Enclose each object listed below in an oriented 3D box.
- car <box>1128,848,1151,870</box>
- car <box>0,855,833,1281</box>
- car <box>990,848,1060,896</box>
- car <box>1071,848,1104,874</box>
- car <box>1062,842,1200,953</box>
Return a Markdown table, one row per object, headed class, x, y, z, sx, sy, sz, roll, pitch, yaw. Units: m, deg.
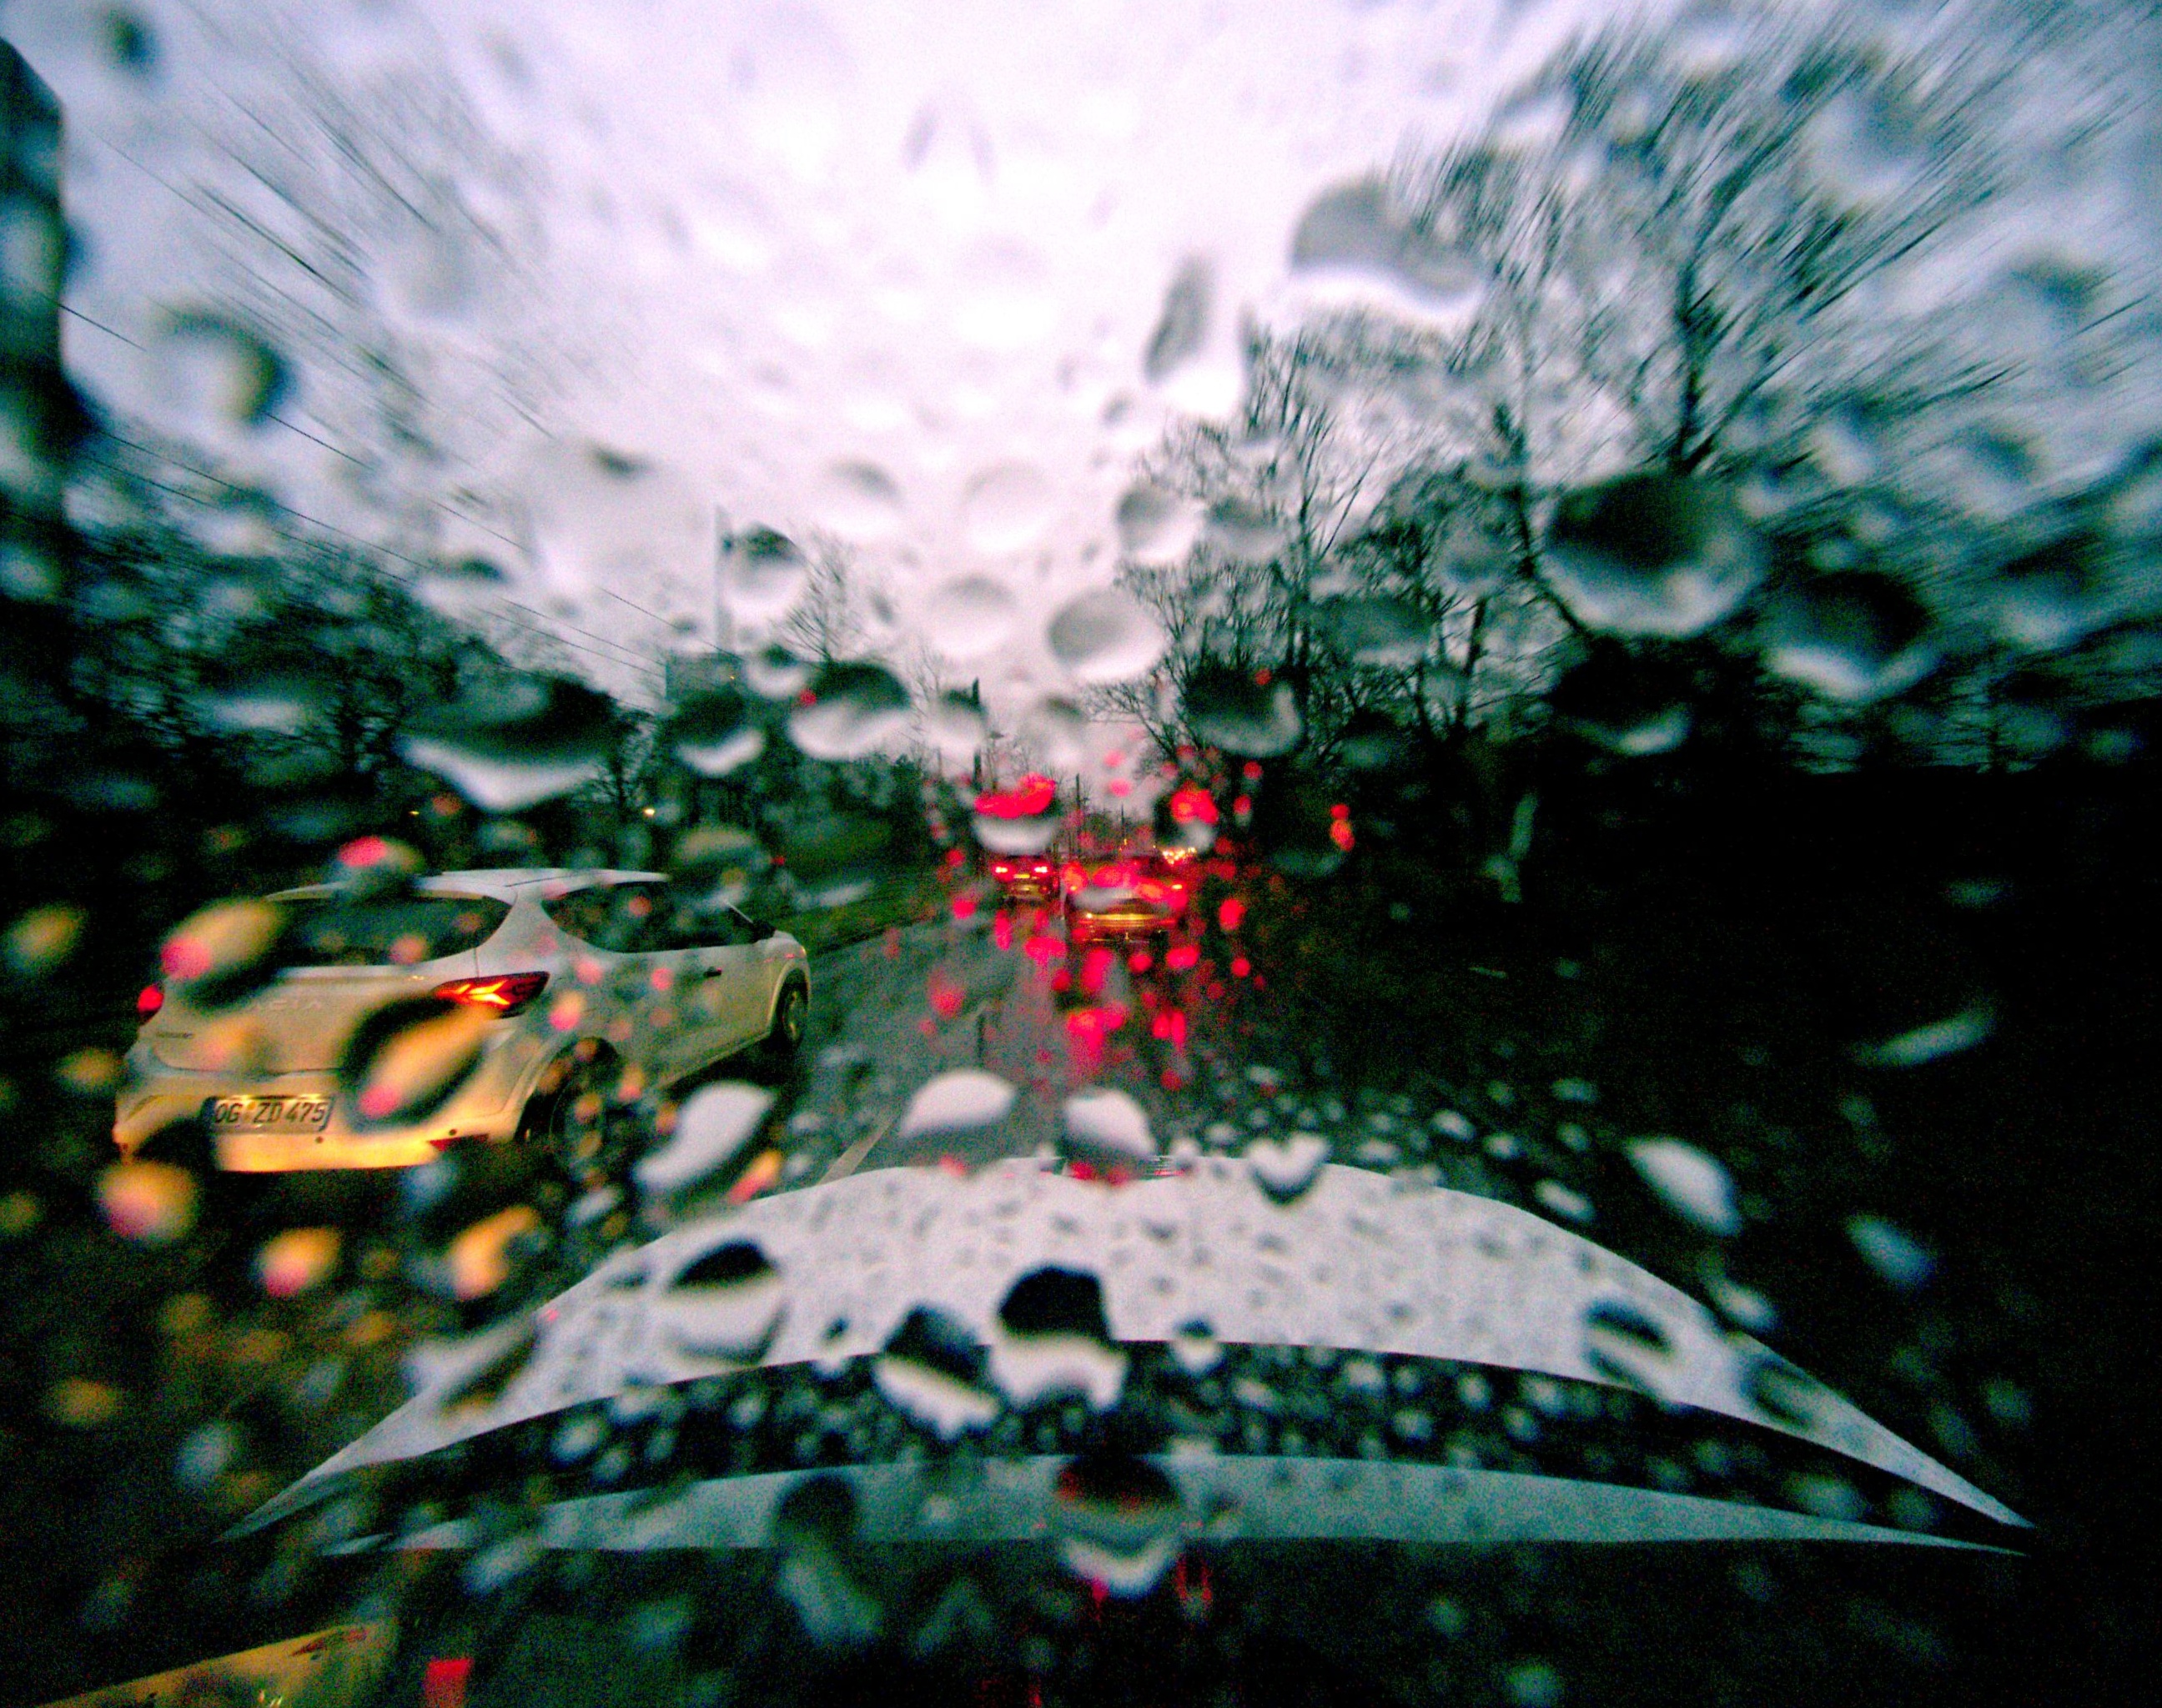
| class | x | y | z | sx | sy | sz | roll | pitch | yaw |
| --- | --- | --- | --- | --- | --- | --- | --- | --- | --- |
| car | 4.466 | 0.365 | 62.397 | 1.701 | 1.558 | 3.999 | -1 | 0 | 3 |
| car | -3.102 | 0.795 | 5.072 | 1.702 | 1.525 | 4.136 | -1 | 0 | 2 |
| car | -1.831 | 0.569 | 27.890 | 1.872 | 1.459 | 4.003 | -2 | 0 | 3 |
| car | 0.482 | 0.433 | 53.438 | 1.872 | 1.593 | 4.005 | -2 | 0 | 4 |
| car | 0.763 | 0.622 | 13.888 | 1.991 | 1.584 | 4.001 | -1 | 0 | 1 |
